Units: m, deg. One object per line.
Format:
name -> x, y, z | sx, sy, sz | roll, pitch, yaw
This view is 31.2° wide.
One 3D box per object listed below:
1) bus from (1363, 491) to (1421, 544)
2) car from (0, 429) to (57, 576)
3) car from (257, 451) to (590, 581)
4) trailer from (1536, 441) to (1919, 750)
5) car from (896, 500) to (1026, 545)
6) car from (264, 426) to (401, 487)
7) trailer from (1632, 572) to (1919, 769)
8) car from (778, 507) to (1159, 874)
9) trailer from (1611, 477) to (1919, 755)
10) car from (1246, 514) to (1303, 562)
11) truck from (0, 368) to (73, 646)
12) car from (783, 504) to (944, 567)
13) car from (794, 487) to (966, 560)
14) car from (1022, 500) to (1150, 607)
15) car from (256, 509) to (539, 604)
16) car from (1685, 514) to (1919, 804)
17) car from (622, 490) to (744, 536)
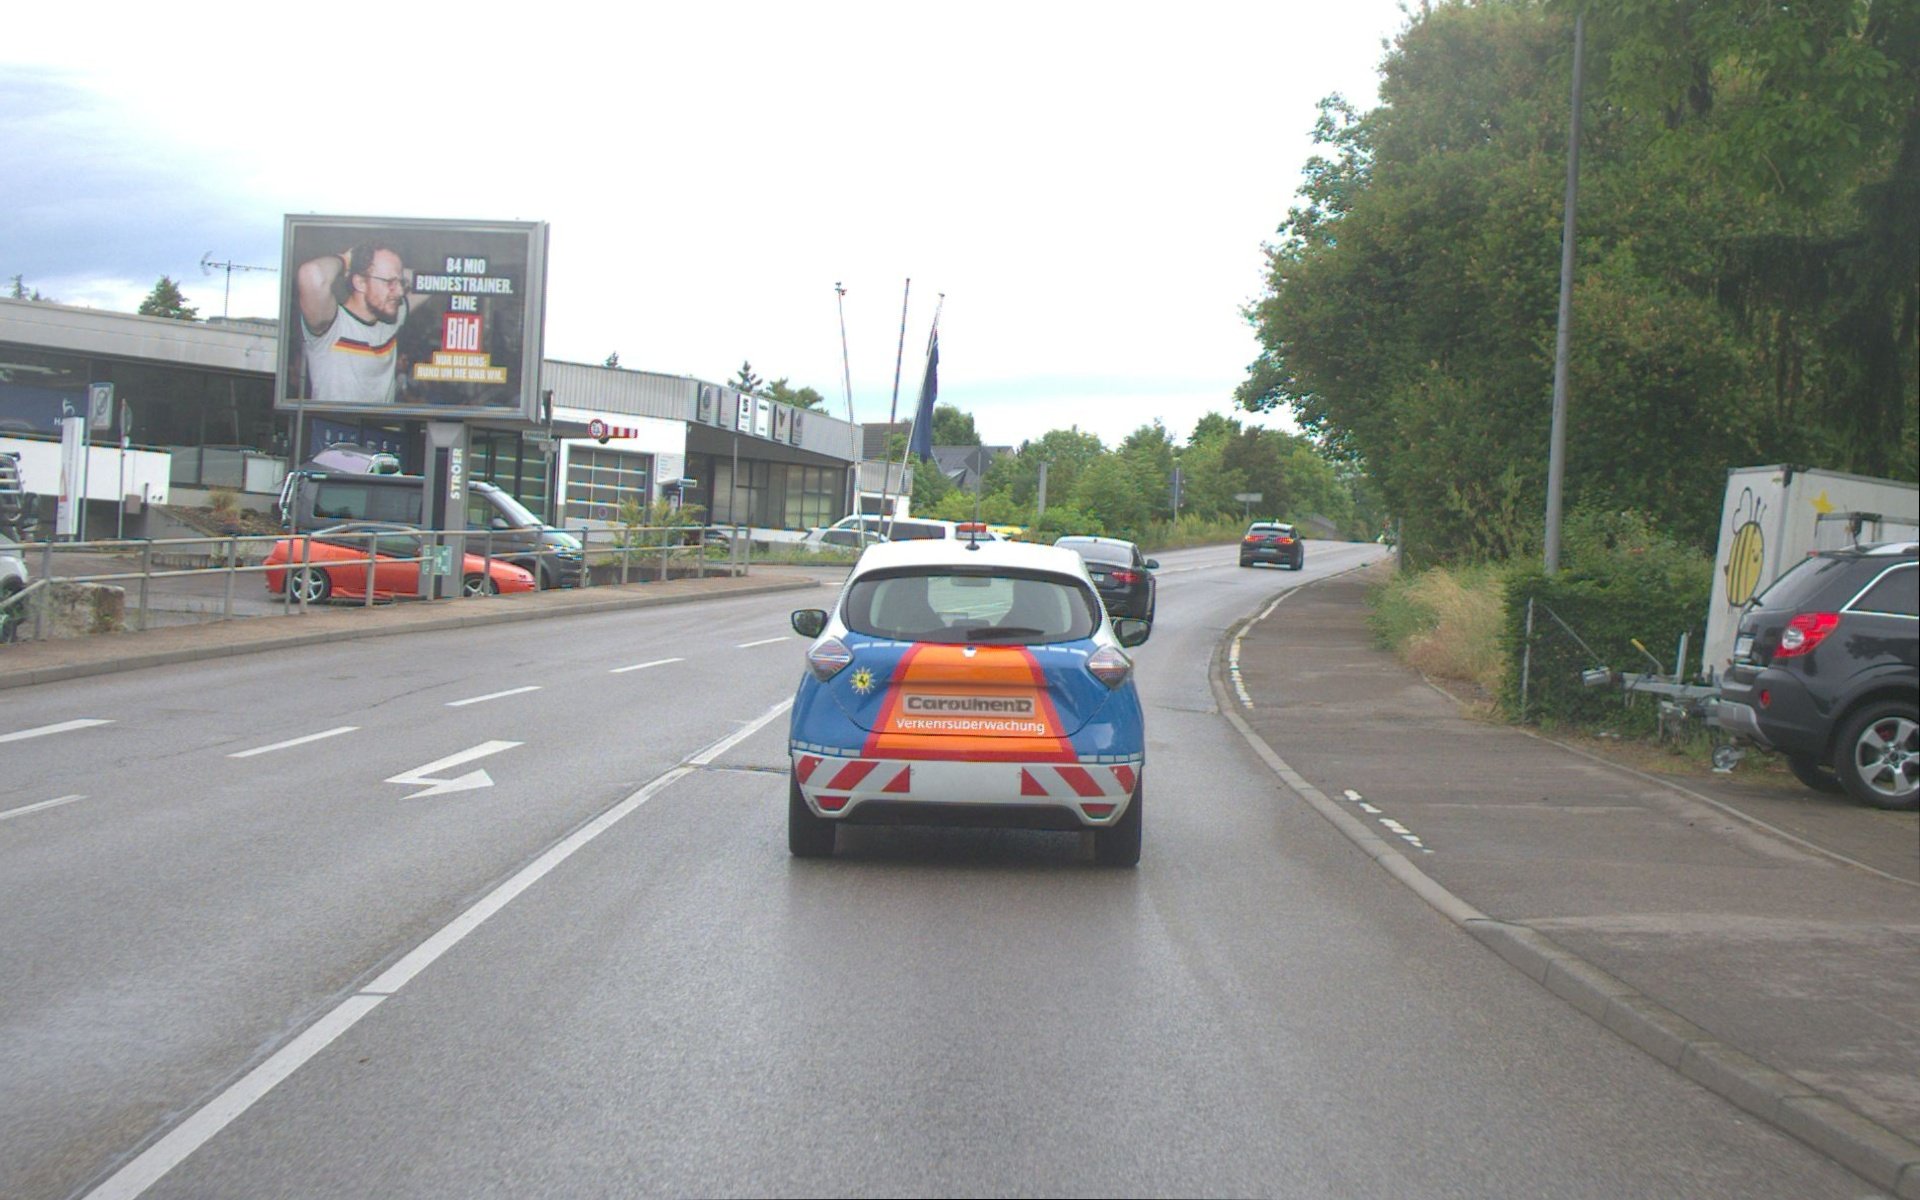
bus -> 27.066, -5.135, 215.880 | 2.911, 3.158, 11.465 | 2, 1, 4
car -> -14.619, -1.500, 49.209 | 1.993, 1.980, 4.878 | 3, 2, -30
car -> -8.689, -1.365, 55.947 | 5.067, 1.864, 1.823 | 2, 1, 0
trailer -> 7.535, 0.001, 29.704 | 4.534, 2.392, 1.950 | 4, 1, -6
car -> 0.050, -2.547, 112.845 | 4.063, 1.286, 1.804 | 3, 2, 6
car -> -16.532, -3.770, 90.697 | 1.819, 1.473, 4.019 | 3, 2, 18
trailer -> 7.396, 0.578, 25.665 | 4.397, 1.283, 1.572 | 3, 2, 1
car -> -0.031, 0.392, 17.636 | 1.657, 1.587, 3.569 | 4, 1, -2
trailer -> 7.436, 0.178, 27.634 | 3.952, 2.015, 1.687 | 4, 1, 1
car -> 9.825, -1.929, 107.226 | 1.614, 1.402, 3.496 | 2, 1, 7
truck -> -10.255, -0.824, 30.425 | 1.994, 2.623, 7.892 | 2, 3, 6
car -> -2.572, -1.732, 92.014 | 4.010, 1.473, 1.823 | 3, 2, 8
car -> -2.176, -2.121, 94.550 | 4.414, 1.791, 1.934 | 3, 2, 8
car -> 2.036, -0.742, 54.529 | 1.802, 1.584, 3.562 | 2, 1, 5
car -> -8.619, -0.675, 52.933 | 4.091, 1.263, 1.770 | 2, 1, -4
car -> 7.100, 0.433, 22.581 | 4.213, 1.743, 1.984 | 3, 2, 3
car -> -9.613, -3.011, 119.047 | 4.019, 1.411, 1.948 | 4, 3, 43
